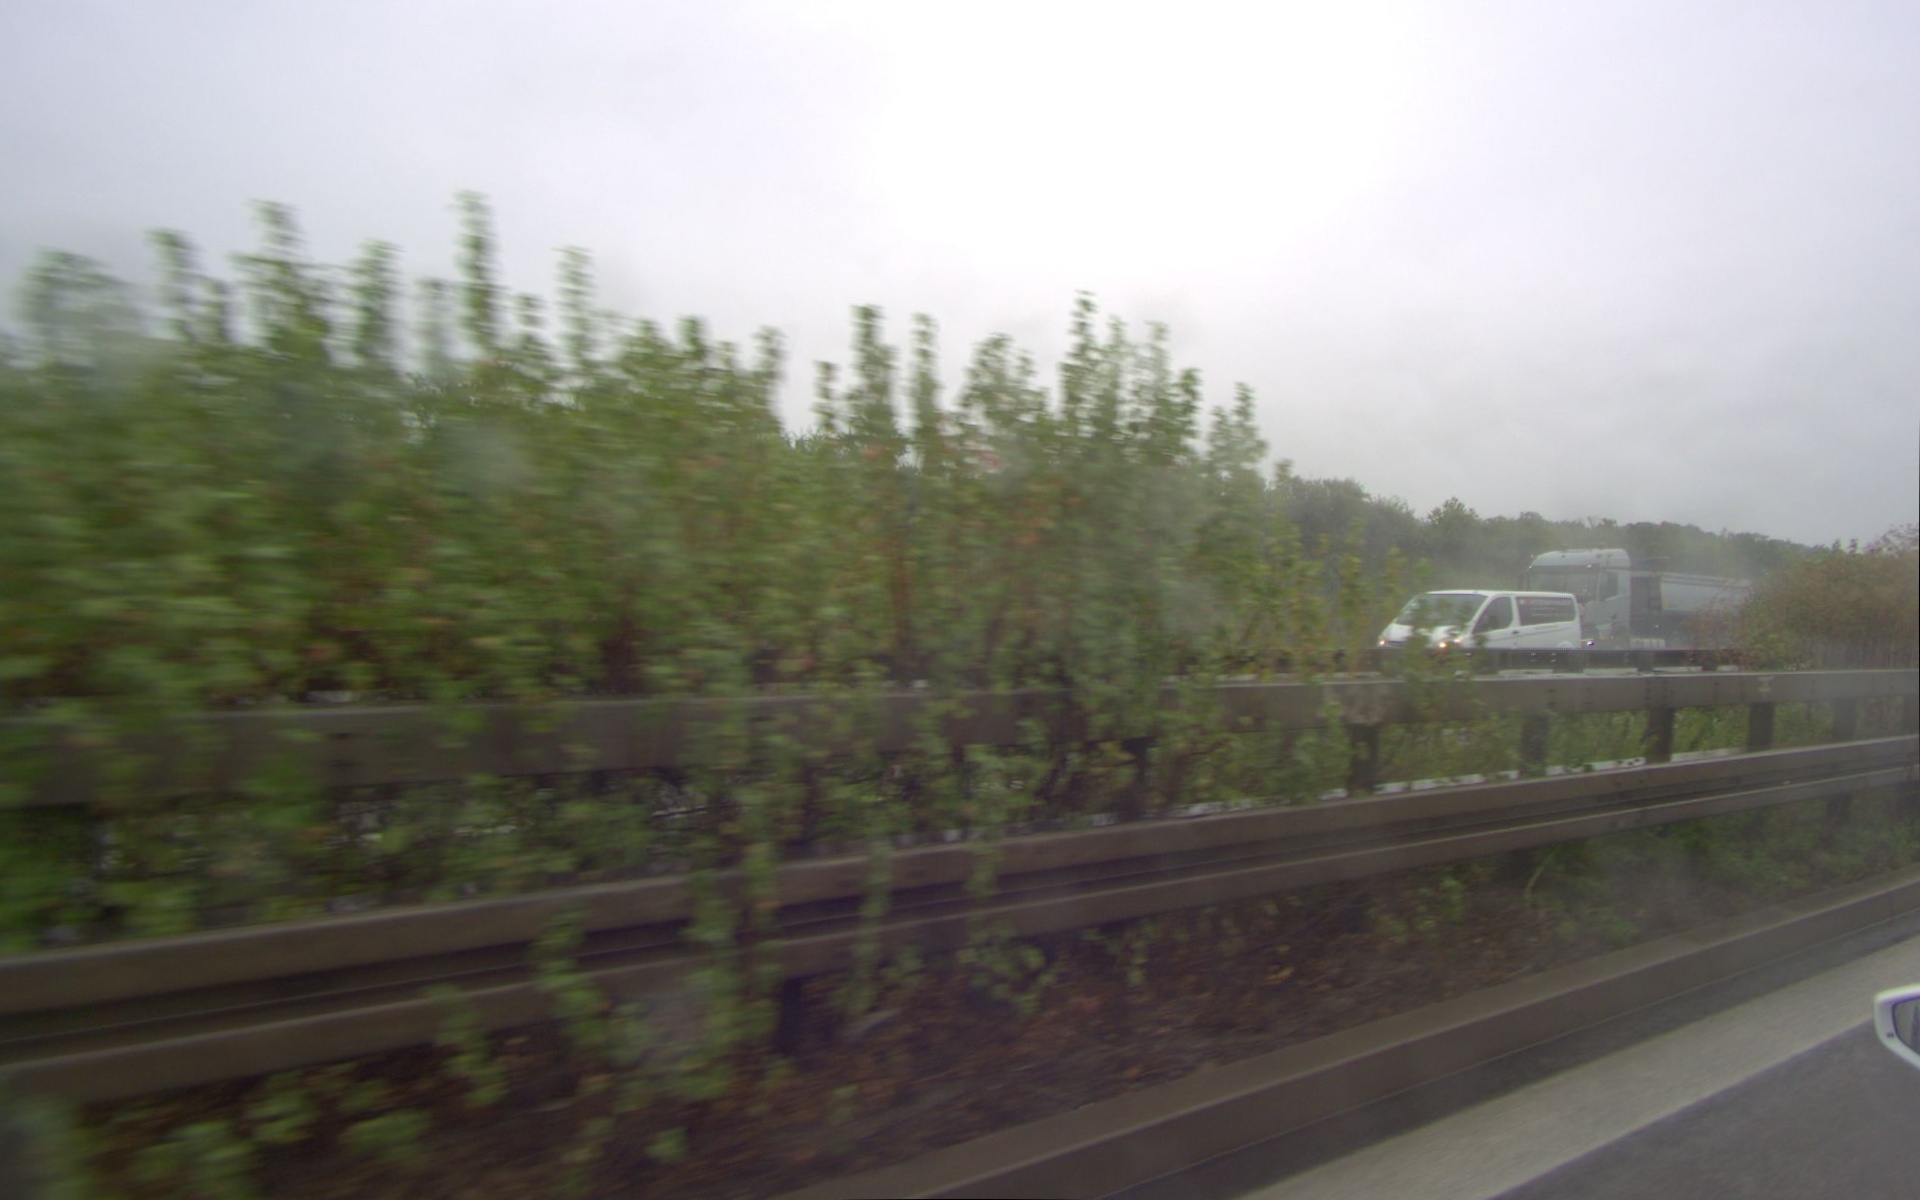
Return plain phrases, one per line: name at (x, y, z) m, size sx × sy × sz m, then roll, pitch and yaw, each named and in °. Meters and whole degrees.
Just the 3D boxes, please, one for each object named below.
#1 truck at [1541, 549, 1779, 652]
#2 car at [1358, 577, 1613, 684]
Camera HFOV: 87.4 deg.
truck at (23.673, 0.110, 33.676) m, size 10.550 × 3.096 × 2.186 m, roll 1°, pitch 0°, yaw -30°
car at (10.604, 0.596, 20.159) m, size 5.255 × 1.931 × 1.984 m, roll 1°, pitch 0°, yaw -29°
